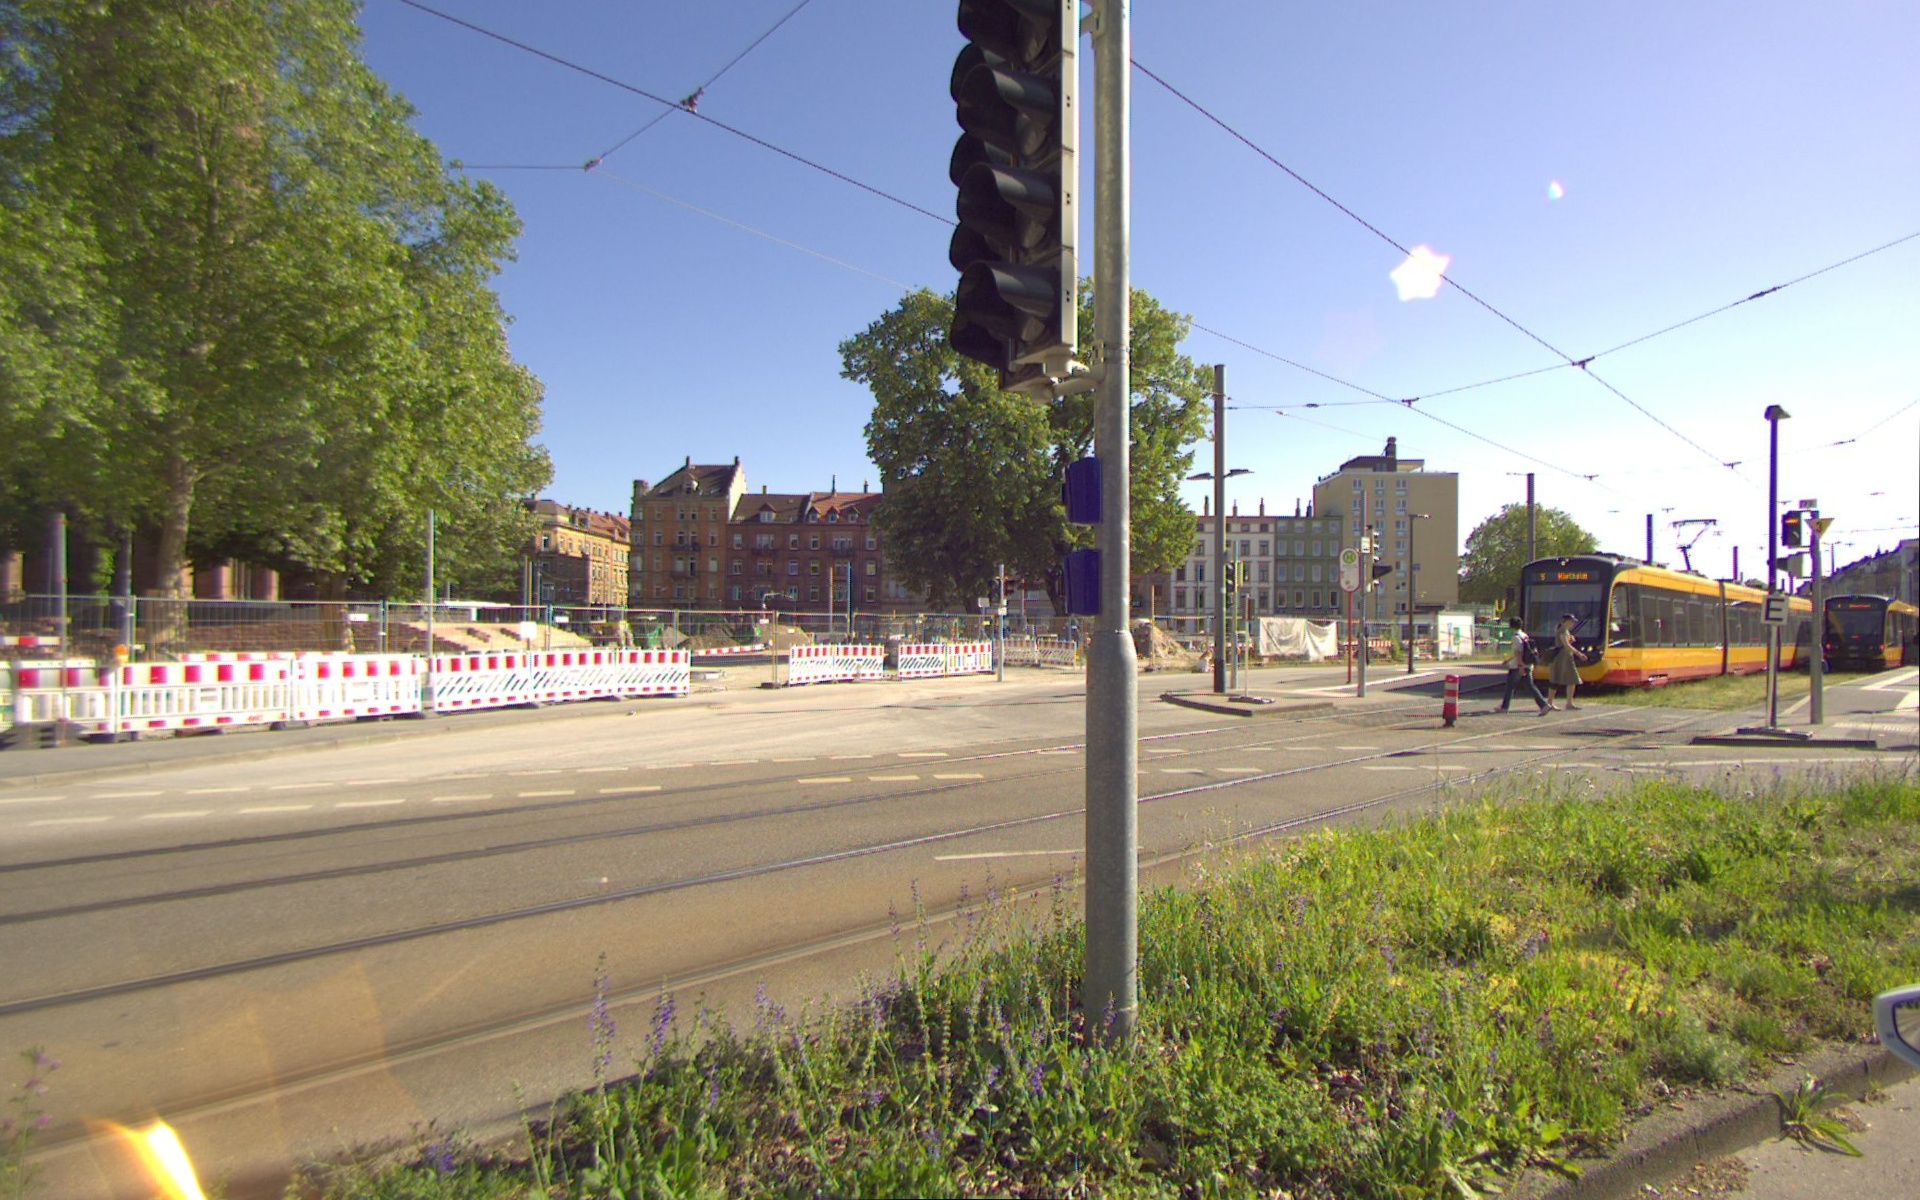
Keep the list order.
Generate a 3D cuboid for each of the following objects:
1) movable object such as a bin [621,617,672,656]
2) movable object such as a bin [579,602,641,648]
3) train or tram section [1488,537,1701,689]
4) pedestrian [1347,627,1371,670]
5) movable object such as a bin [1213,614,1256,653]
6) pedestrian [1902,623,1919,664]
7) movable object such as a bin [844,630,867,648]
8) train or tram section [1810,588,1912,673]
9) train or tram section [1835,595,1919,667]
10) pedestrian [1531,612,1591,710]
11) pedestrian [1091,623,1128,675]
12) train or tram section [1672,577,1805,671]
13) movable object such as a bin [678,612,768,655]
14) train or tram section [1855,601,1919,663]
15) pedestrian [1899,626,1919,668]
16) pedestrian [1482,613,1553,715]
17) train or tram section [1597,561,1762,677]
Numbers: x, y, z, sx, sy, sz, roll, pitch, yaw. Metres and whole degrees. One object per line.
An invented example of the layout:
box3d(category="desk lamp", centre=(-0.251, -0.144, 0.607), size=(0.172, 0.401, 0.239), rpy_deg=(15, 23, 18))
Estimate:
box3d(category="movable object such as a bin", centre=(-20.073, 2.309, 64.542), size=(1.857, 2.377, 4.230), rpy_deg=(2, -1, 0))
box3d(category="movable object such as a bin", centre=(-26.358, 1.877, 75.793), size=(3.060, 3.214, 5.244), rpy_deg=(2, -1, -5))
box3d(category="train or tram section", centre=(18.062, 0.457, 28.151), size=(10.411, 3.554, 2.789), rpy_deg=(2, -2, -45))
box3d(category="pedestrian", centre=(16.743, 2.035, 42.157), size=(0.795, 1.791, 0.661), rpy_deg=(2, -2, -45))
box3d(category="movable object such as a bin", centre=(20.648, 2.506, 75.697), size=(1.798, 2.833, 3.997), rpy_deg=(2, -1, -5))
box3d(category="pedestrian", centre=(44.627, 2.021, 46.985), size=(0.602, 1.881, 0.784), rpy_deg=(3, -1, -45))
box3d(category="movable object such as a bin", centre=(-10.041, 3.767, 96.844), size=(1.716, 1.702, 3.802), rpy_deg=(0, -1, 2))
box3d(category="train or tram section", centre=(42.331, 1.429, 47.044), size=(10.472, 3.554, 2.843), rpy_deg=(2, -2, -44))
box3d(category="train or tram section", centre=(49.792, 1.698, 54.339), size=(10.472, 3.554, 2.843), rpy_deg=(2, -2, -44))
box3d(category="pedestrian", centre=(11.854, 1.177, 19.812), size=(0.888, 1.875, 0.760), rpy_deg=(-1, 1, 39))
box3d(category="pedestrian", centre=(5.212, 1.705, 35.038), size=(0.857, 1.791, 0.963), rpy_deg=(1, -2, -37))
box3d(category="train or tram section", centre=(33.393, 1.053, 42.850), size=(11.132, 3.554, 2.790), rpy_deg=(2, -1, -43))
box3d(category="movable object such as a bin", centre=(-16.973, 2.383, 72.194), size=(5.968, 2.795, 1.894), rpy_deg=(2, -1, -3))
box3d(category="train or tram section", centre=(57.321, 1.947, 61.637), size=(10.472, 3.554, 2.843), rpy_deg=(2, -1, -44))
box3d(category="pedestrian", centre=(44.077, 2.179, 46.492), size=(0.756, 1.908, 0.838), rpy_deg=(3, -1, -45))
box3d(category="pedestrian", centre=(10.520, 1.182, 18.959), size=(0.756, 1.856, 1.006), rpy_deg=(3, -3, -45))
box3d(category="train or tram section", centre=(25.624, 0.723, 35.478), size=(10.537, 3.554, 2.790), rpy_deg=(2, -1, -43))
